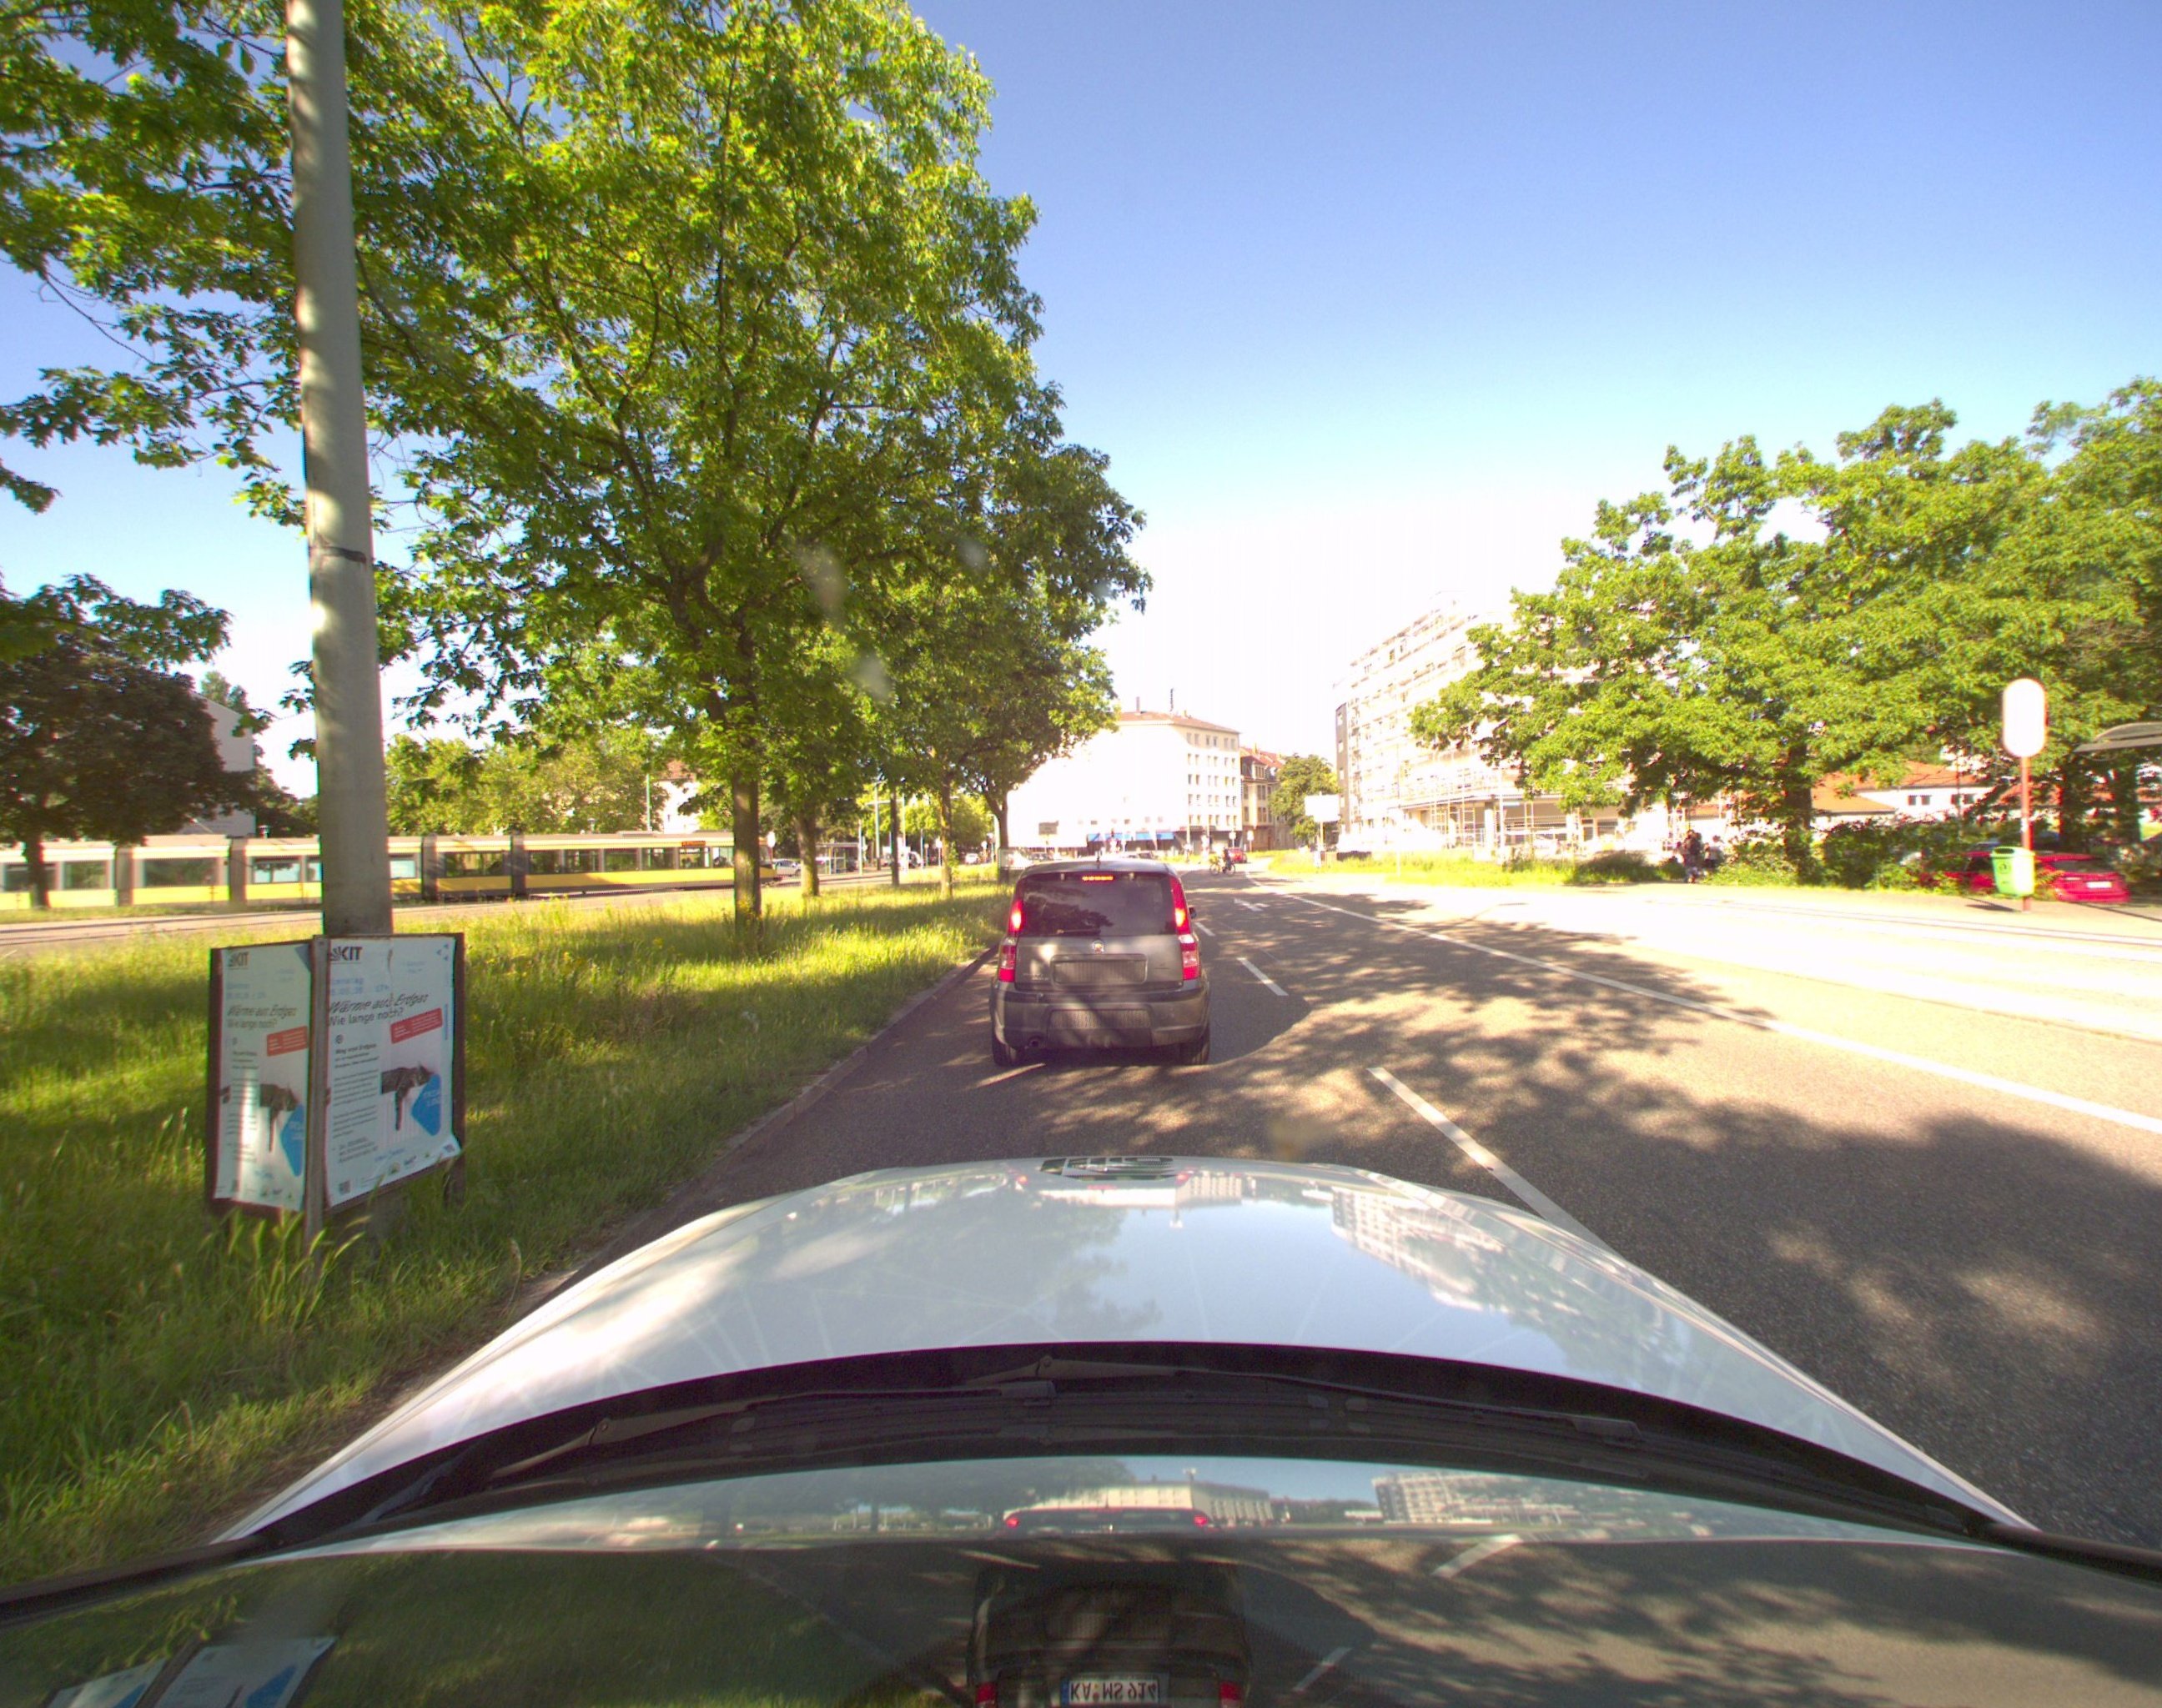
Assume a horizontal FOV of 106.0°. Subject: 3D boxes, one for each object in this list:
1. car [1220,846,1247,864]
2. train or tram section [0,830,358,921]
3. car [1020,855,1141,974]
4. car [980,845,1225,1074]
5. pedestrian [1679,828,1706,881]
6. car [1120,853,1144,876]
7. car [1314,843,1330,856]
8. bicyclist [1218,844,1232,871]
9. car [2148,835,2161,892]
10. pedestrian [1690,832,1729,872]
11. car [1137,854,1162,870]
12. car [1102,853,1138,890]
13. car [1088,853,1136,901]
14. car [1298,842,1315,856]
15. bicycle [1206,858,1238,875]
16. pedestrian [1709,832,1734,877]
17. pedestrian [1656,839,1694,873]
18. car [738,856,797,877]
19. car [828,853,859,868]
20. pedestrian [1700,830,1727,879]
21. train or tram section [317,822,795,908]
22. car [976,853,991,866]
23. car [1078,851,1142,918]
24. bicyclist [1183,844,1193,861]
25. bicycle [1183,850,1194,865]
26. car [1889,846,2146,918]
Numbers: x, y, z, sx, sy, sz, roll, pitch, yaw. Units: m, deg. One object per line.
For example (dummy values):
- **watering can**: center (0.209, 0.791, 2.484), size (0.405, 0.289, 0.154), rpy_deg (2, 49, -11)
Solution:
- **car**: center (13.325, 0.070, 71.063), size (1.873, 1.428, 4.406), rpy_deg (-2, 0, 16)
- **train or tram section**: center (-43.929, 0.971, 34.886), size (19.386, 3.513, 3.284), rpy_deg (-2, 0, -20)
- **car**: center (0.052, 0.748, 11.760), size (1.458, 1.401, 3.395), rpy_deg (-2, 0, 2)
- **car**: center (0.207, 0.703, 7.532), size (1.622, 1.508, 4.002), rpy_deg (-2, 0, 2)
- **pedestrian**: center (18.583, 0.013, 24.762), size (0.516, 1.612, 0.595), rpy_deg (-2, 0, 28)
- **car**: center (3.097, 0.622, 49.681), size (1.351, 1.281, 2.877), rpy_deg (-2, 0, 2)
- **car**: center (27.741, -0.532, 93.557), size (1.514, 1.314, 3.304), rpy_deg (-2, 0, 20)
- **bicyclist**: center (8.189, 0.212, 46.303), size (0.578, 1.493, 0.553), rpy_deg (-2, 0, 42)
- **car**: center (29.864, 0.219, 20.176), size (1.911, 1.486, 3.725), rpy_deg (-2, 0, -17)
- **pedestrian**: center (27.254, -0.093, 35.309), size (0.889, 1.653, 0.983), rpy_deg (-2, 0, -14)
- **car**: center (4.867, 0.577, 57.714), size (1.133, 1.064, 2.735), rpy_deg (-2, 0, 19)
- **car**: center (1.603, 0.693, 33.965), size (1.351, 1.449, 3.267), rpy_deg (-2, 0, 2)
- **car**: center (1.032, 0.728, 27.395), size (1.458, 1.424, 3.383), rpy_deg (-2, 0, 2)
- **car**: center (24.915, -0.535, 89.995), size (1.669, 1.449, 3.588), rpy_deg (-2, 0, 18)
- **bicycle**: center (8.017, 0.727, 46.479), size (1.773, 0.945, 0.563), rpy_deg (-1, 0, 44)
- **pedestrian**: center (20.854, 0.016, 26.520), size (0.516, 1.447, 0.595), rpy_deg (-2, 0, 28)
- **pedestrian**: center (25.766, 0.093, 35.338), size (0.893, 1.447, 0.962), rpy_deg (-2, 0, -13)
- **car**: center (-27.318, 1.073, 71.064), size (1.974, 1.684, 4.348), rpy_deg (-2, 0, 40)
- **car**: center (-34.289, 0.866, 117.461), size (4.006, 2.013, 1.984), rpy_deg (-2, 0, -24)
- **pedestrian**: center (19.310, 0.015, 24.881), size (0.516, 1.447, 0.595), rpy_deg (-2, 0, 28)
- **train or tram section**: center (-26.605, 0.285, 43.900), size (20.889, 3.770, 3.272), rpy_deg (-2, 0, -33)
- **car**: center (-14.839, 0.825, 124.157), size (1.988, 2.013, 3.997), rpy_deg (-2, 0, -2)
- **car**: center (0.728, 0.698, 20.791), size (1.458, 1.508, 3.506), rpy_deg (-2, 0, 2)
- **bicyclist**: center (9.145, -0.151, 69.417), size (0.738, 1.438, 0.845), rpy_deg (0, -1, 1)
- **bicycle**: center (9.164, 0.301, 69.534), size (0.706, 1.198, 2.520), rpy_deg (0, -1, 1)
- **car**: center (21.989, 0.597, 19.373), size (1.747, 1.486, 3.743), rpy_deg (-2, 0, -2)
